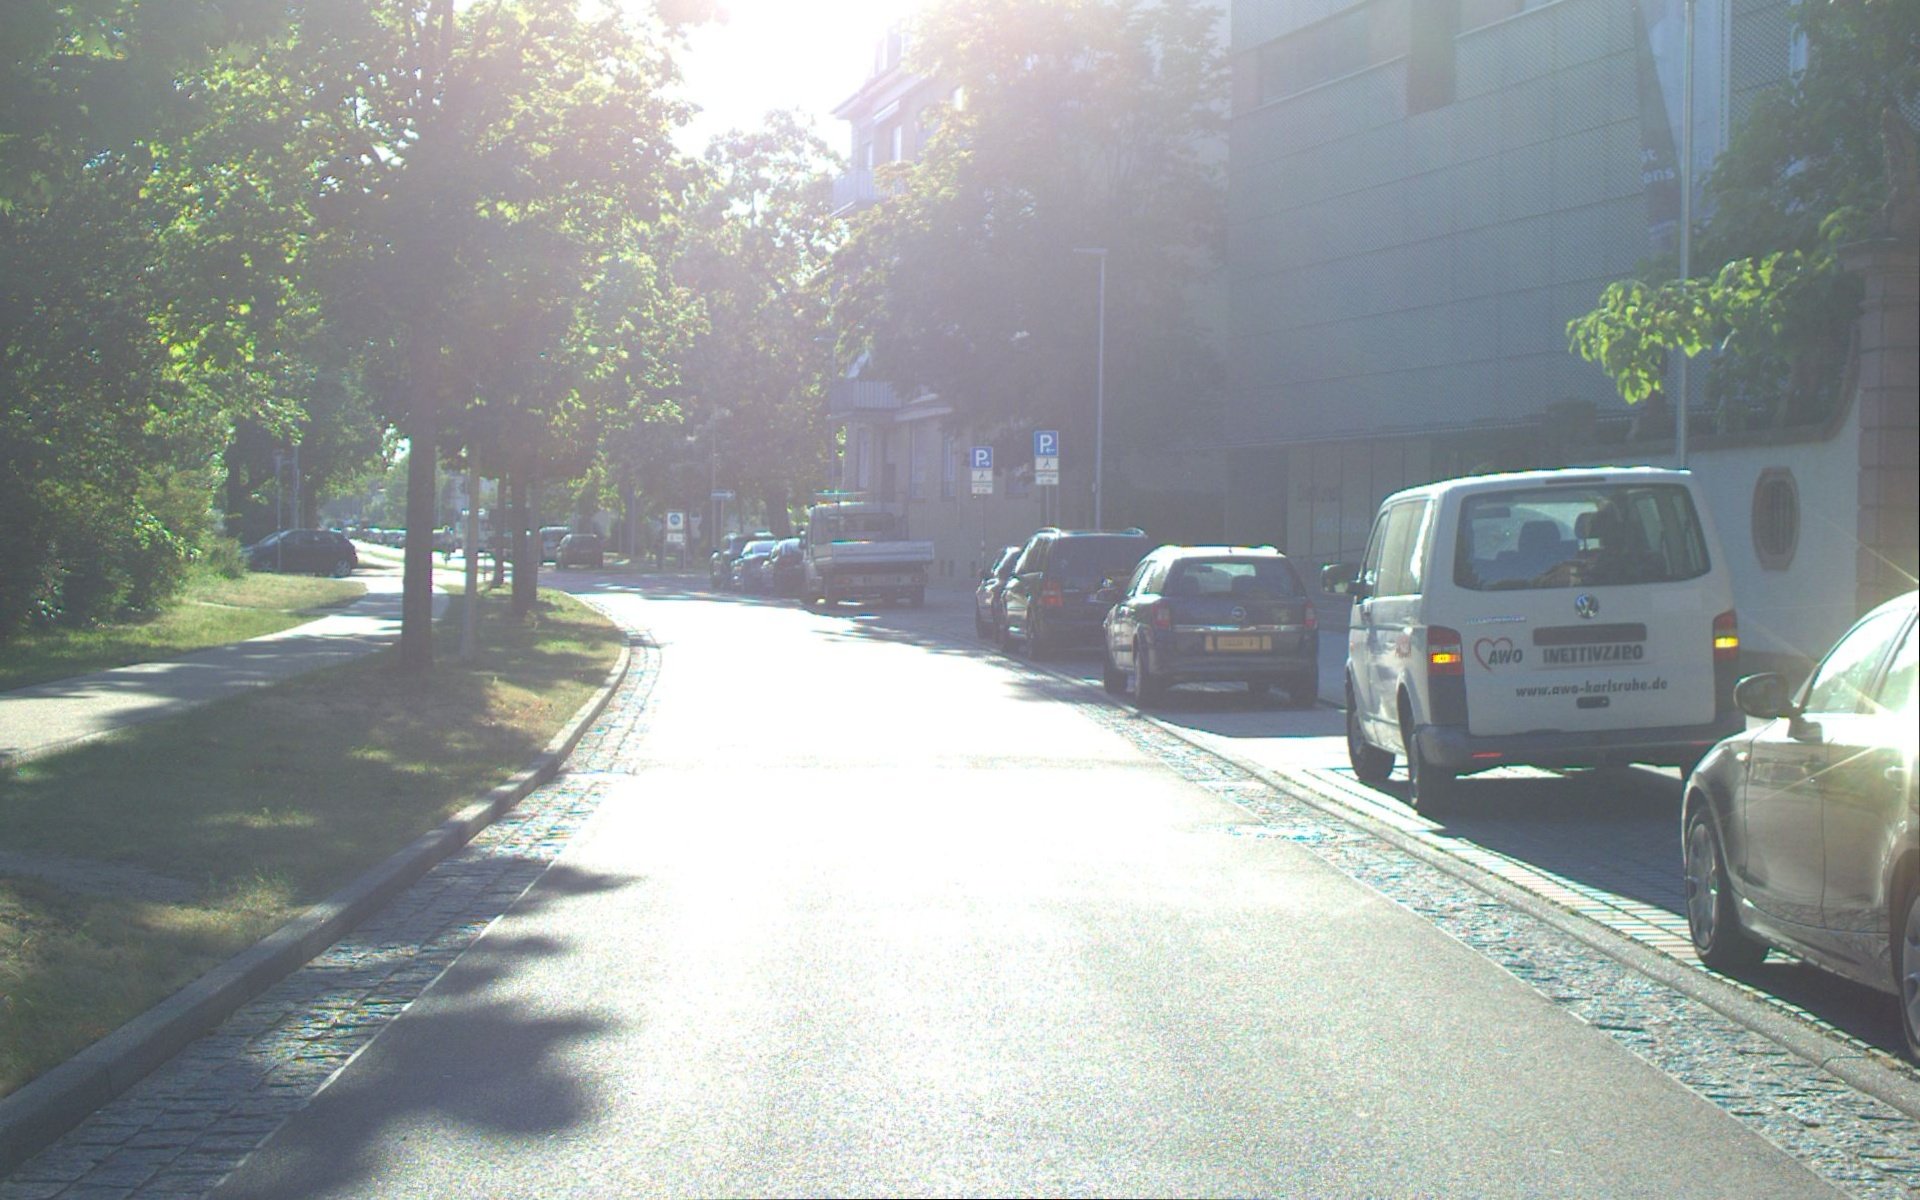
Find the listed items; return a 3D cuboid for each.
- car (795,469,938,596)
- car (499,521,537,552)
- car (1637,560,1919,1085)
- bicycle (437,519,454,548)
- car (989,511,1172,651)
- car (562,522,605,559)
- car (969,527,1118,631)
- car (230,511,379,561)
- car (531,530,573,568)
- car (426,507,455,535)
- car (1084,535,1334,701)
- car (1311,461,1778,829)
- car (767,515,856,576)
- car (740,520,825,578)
[{"bbox_3d":[-2.041,-1.457,72.811,2.211,2.521,6.149,-2,2,-9],"label":"car"},{"bbox_3d":[-22.636,-3.269,175.961,1.793,1.504,4.001,1,1,-9],"label":"car"},{"bbox_3d":[3.475,0.601,11.058,1.679,1.398,4.200,-1,1,-1],"label":"car"},{"bbox_3d":[-23.772,-3.078,158.840,0.688,1.198,2.344,1,4,-6],"label":"bicycle"},{"bbox_3d":[1.491,-0.284,43.925,1.724,1.663,4.115,-1,2,-7],"label":"car"},{"bbox_3d":[-16.090,-2.555,147.030,1.793,1.504,4.001,1,1,-6],"label":"car"},{"bbox_3d":[1.175,-0.333,49.879,1.724,1.416,3.907,0,2,-5],"label":"car"},{"bbox_3d":[-19.552,-1.915,102.628,3.987,1.415,1.771,0,2,-36],"label":"car"},{"bbox_3d":[-19.076,-2.382,160.490,1.793,1.718,4.001,1,1,-9],"label":"car"},{"bbox_3d":[-38.238,-5.827,252.869,1.993,1.963,4.001,2,1,-9],"label":"car"},{"bbox_3d":[2.359,0.117,33.598,1.747,1.461,4.478,-1,1,-5],"label":"car"},{"bbox_3d":[3.494,0.160,21.504,1.993,1.959,4.850,-3,2,0],"label":"car"},{"bbox_3d":[-3.643,-1.337,83.833,1.690,1.435,3.552,0,2,-10],"label":"car"},{"bbox_3d":[-4.625,-1.342,89.135,1.690,1.435,4.105,0,2,-10],"label":"car"}]
